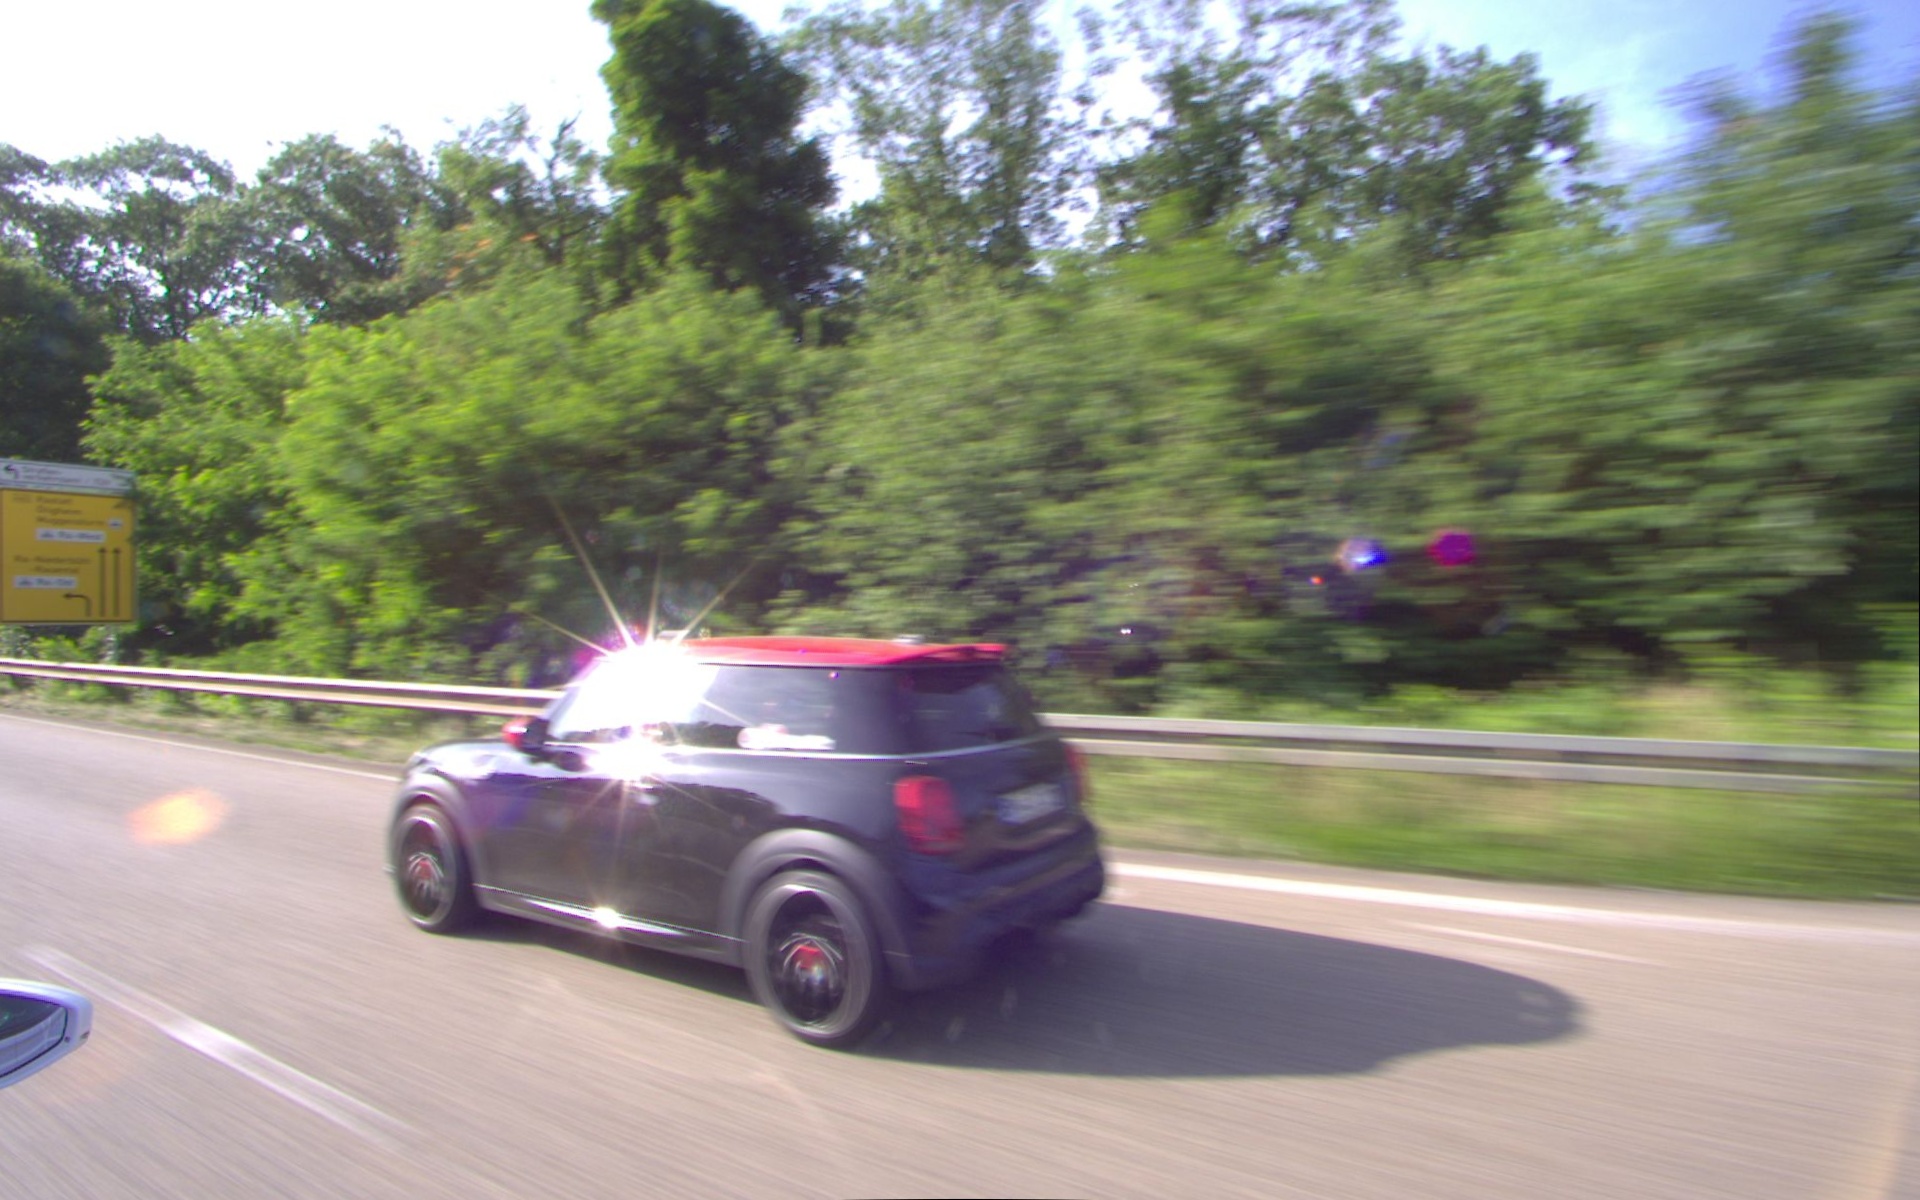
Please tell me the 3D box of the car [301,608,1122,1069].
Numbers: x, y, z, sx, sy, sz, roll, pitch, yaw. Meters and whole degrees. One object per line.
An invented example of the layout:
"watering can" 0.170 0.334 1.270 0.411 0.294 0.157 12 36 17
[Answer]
"car" -1.315 0.834 5.049 3.814 1.486 1.818 0 -2 30
